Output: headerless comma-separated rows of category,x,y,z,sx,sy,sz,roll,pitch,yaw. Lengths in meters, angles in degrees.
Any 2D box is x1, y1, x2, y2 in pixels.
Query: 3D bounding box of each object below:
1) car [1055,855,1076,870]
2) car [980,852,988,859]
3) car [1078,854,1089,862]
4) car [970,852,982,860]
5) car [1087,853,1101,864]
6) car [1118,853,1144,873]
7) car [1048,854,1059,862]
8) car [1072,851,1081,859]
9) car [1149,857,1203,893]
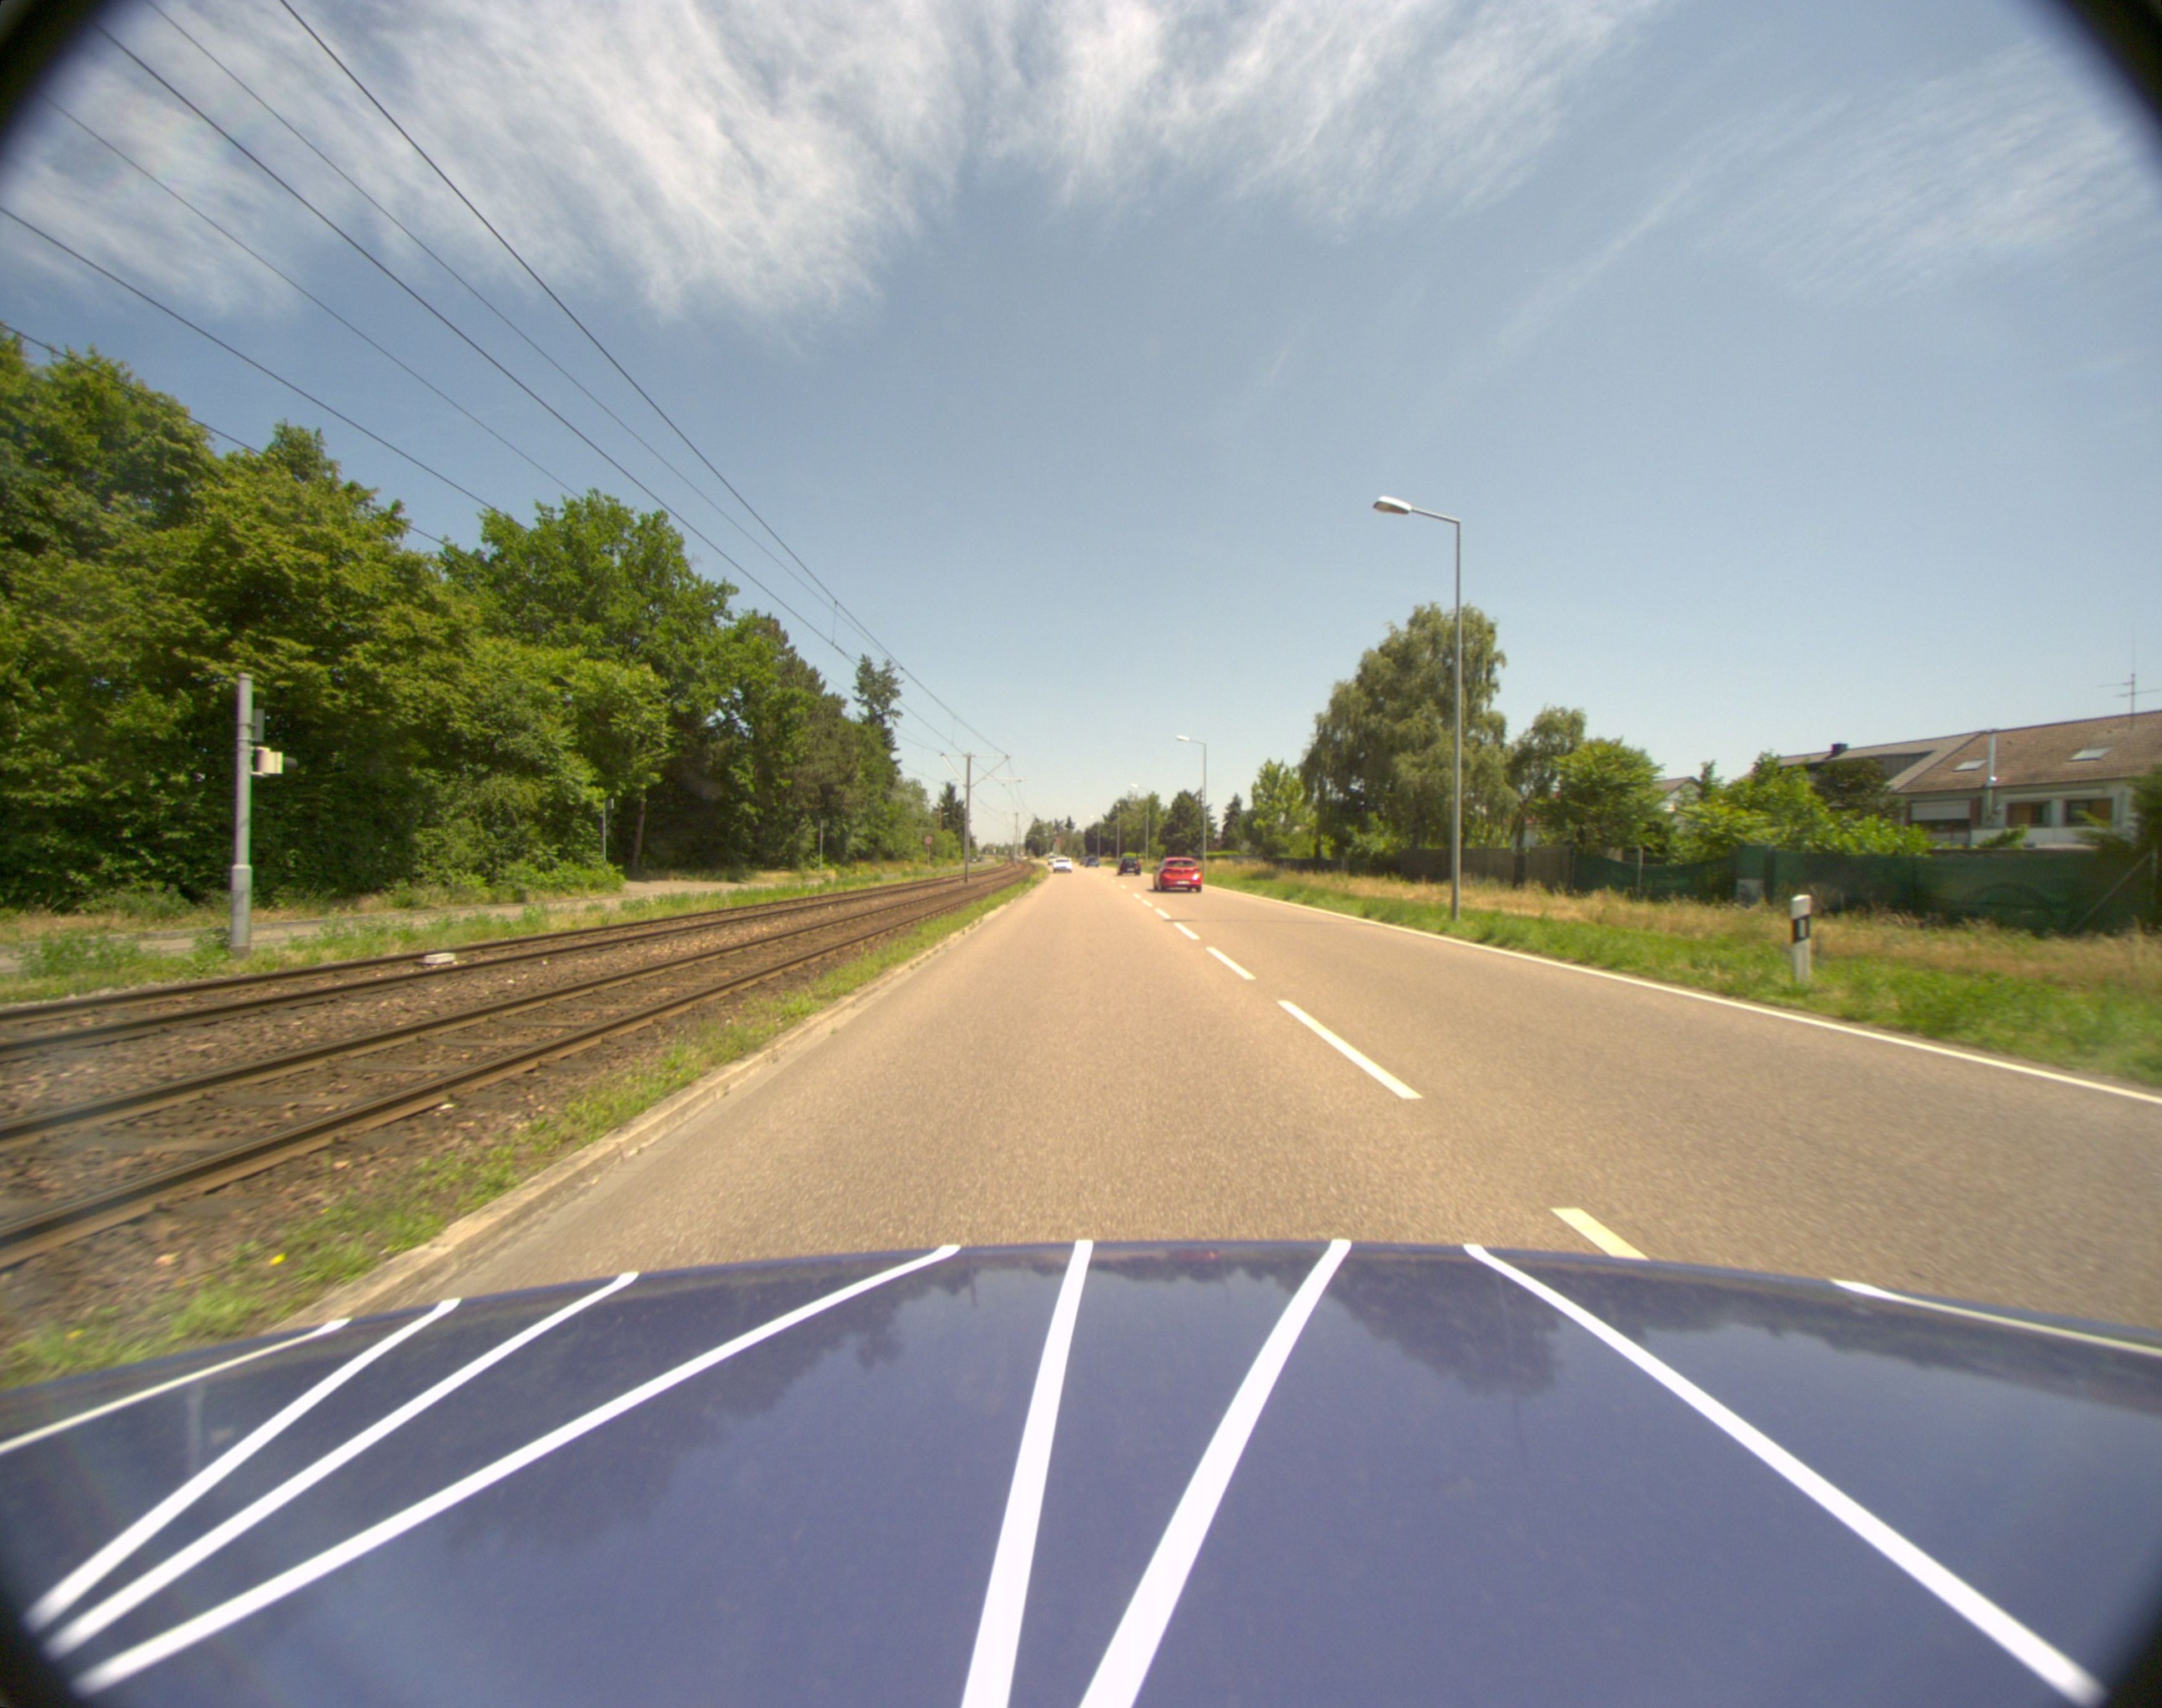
car,-1.497,0.833,75.247,1.954,1.467,4.361,1,0,0
car,-25.268,0.308,197.539,1.947,1.685,3.997,-2,1,-6
car,0.387,0.668,129.807,1.762,1.414,4.322,0,0,-2
car,-22.806,0.413,165.081,1.999,1.710,3.998,-2,1,-2
car,1.895,0.672,109.562,1.820,1.496,3.999,0,0,-2
car,3.957,0.693,60.839,1.689,1.560,3.966,0,0,-2
car,-5.006,0.675,138.961,1.891,1.456,3.999,0,0,-3
car,-0.964,0.200,157.319,1.740,1.487,4.828,1,0,-2
car,4.011,0.852,32.610,1.684,1.391,3.999,0,0,-2
